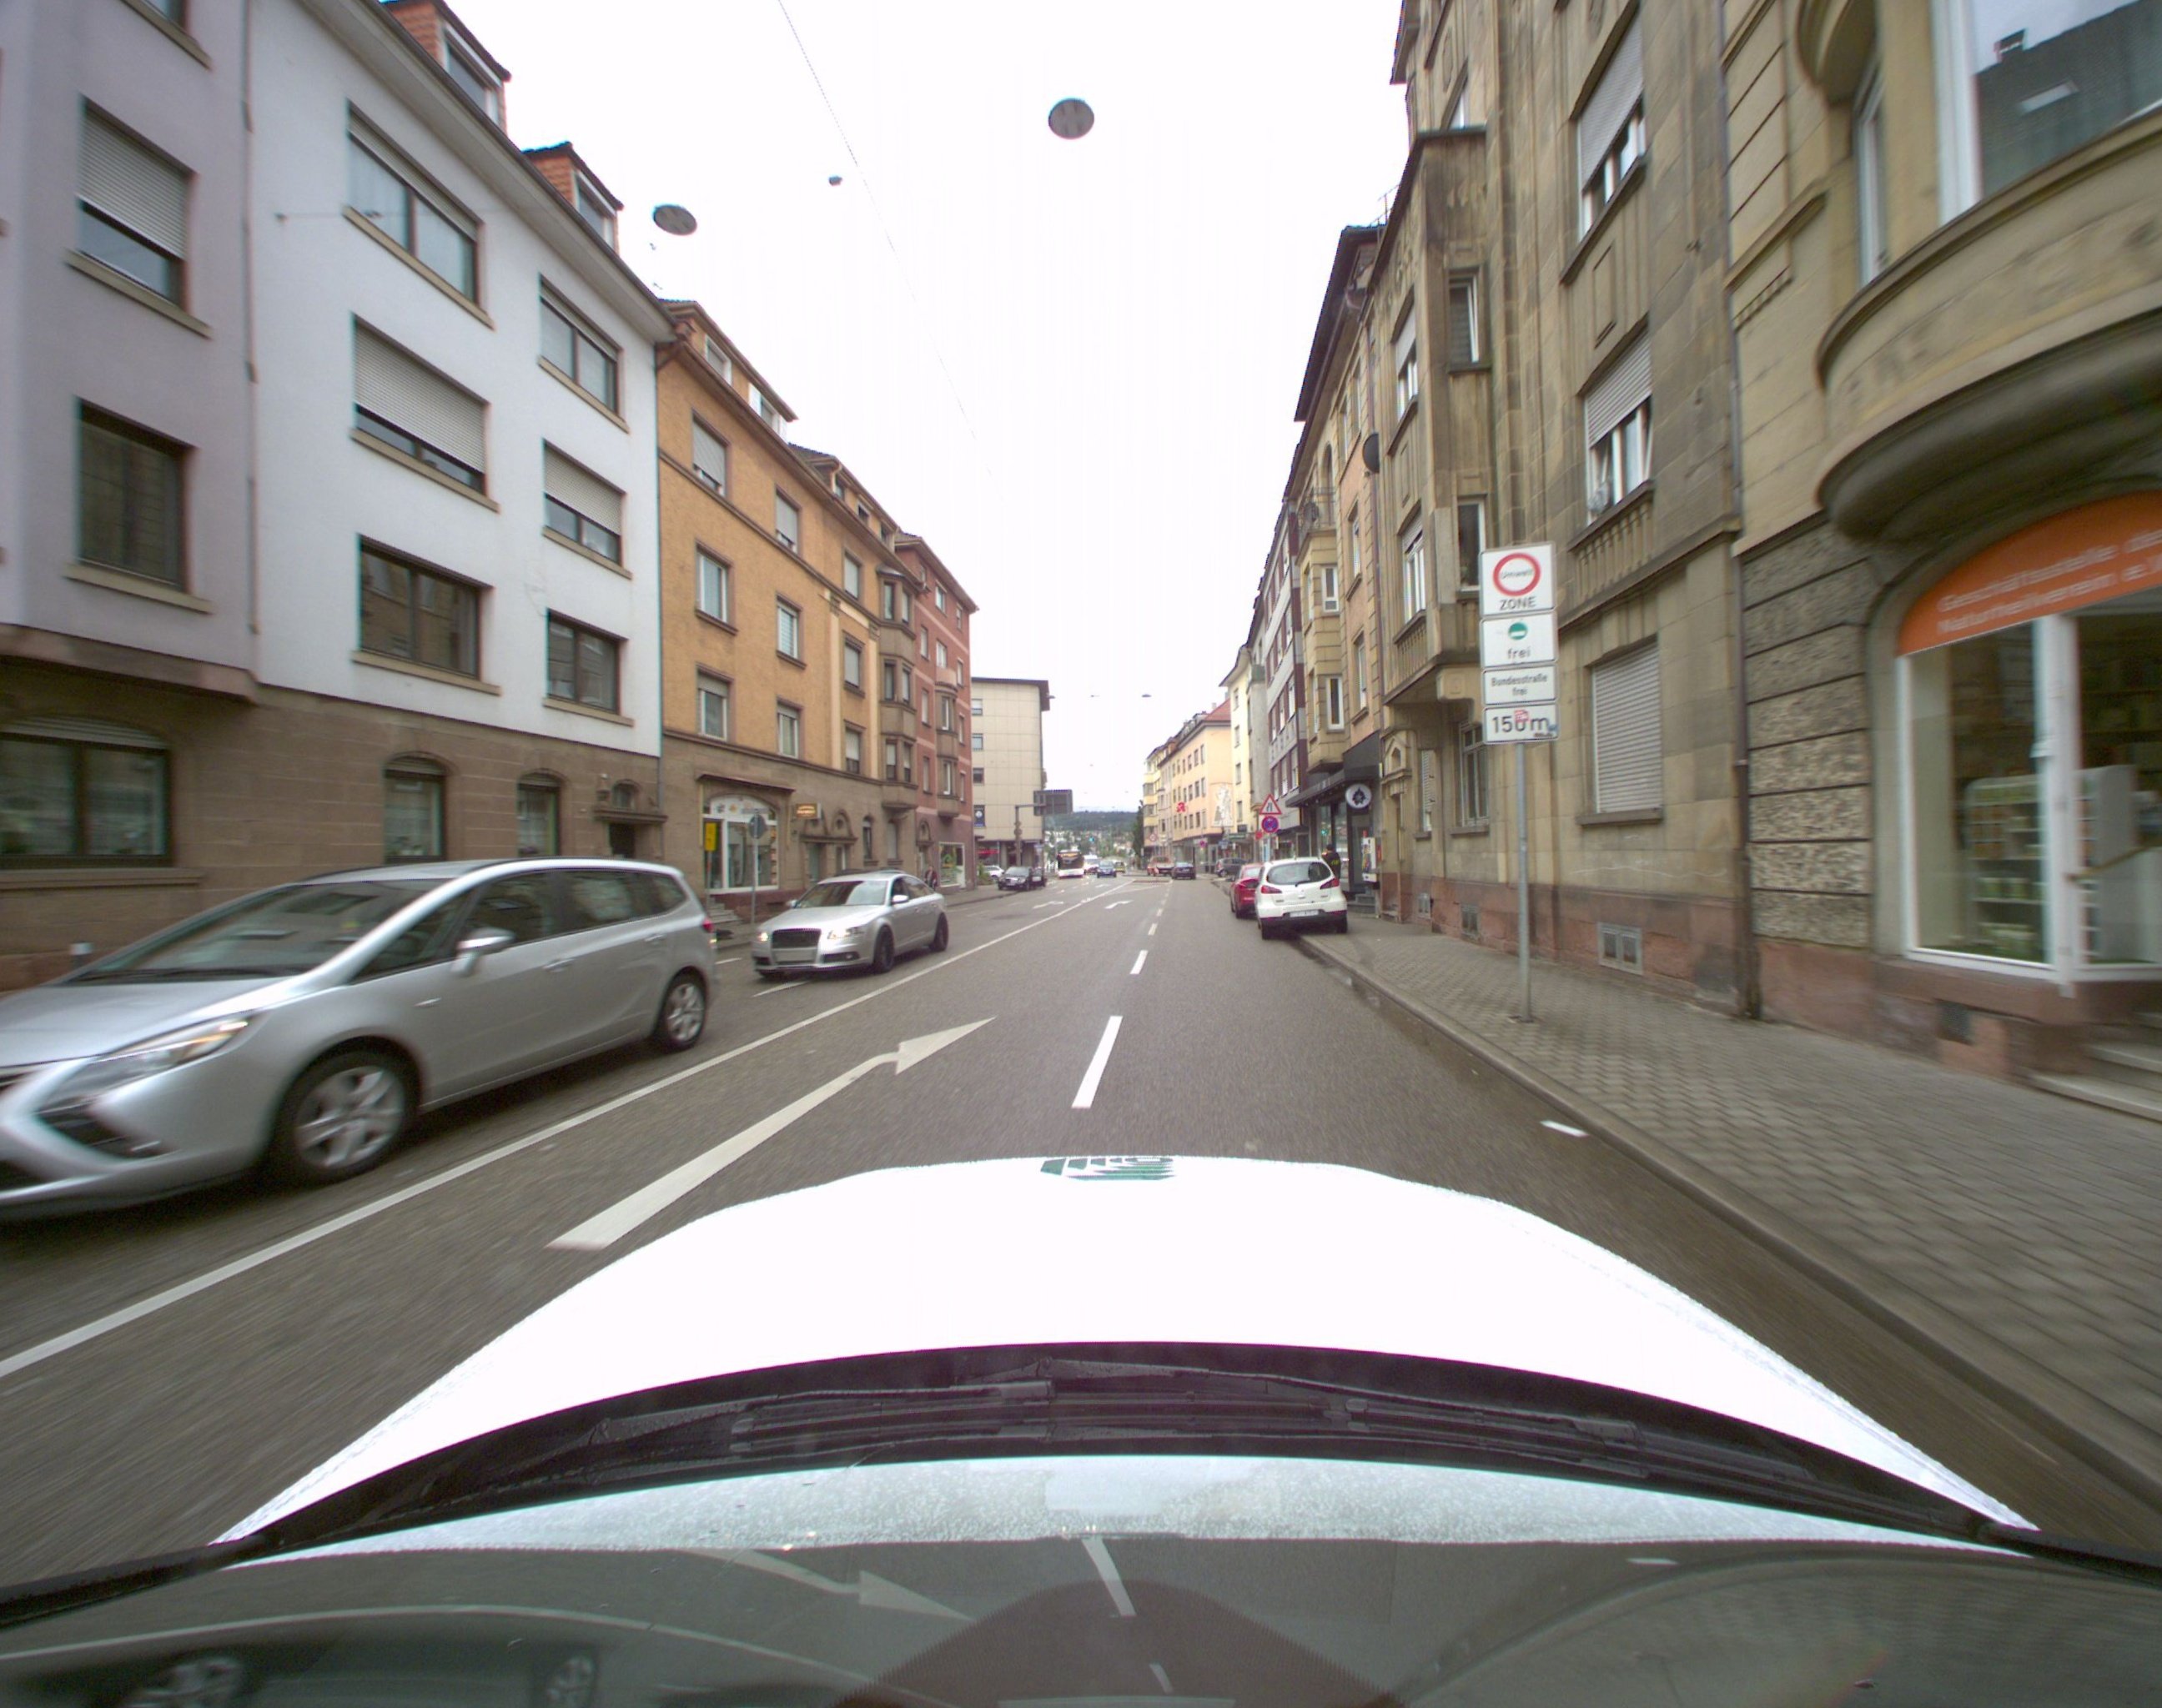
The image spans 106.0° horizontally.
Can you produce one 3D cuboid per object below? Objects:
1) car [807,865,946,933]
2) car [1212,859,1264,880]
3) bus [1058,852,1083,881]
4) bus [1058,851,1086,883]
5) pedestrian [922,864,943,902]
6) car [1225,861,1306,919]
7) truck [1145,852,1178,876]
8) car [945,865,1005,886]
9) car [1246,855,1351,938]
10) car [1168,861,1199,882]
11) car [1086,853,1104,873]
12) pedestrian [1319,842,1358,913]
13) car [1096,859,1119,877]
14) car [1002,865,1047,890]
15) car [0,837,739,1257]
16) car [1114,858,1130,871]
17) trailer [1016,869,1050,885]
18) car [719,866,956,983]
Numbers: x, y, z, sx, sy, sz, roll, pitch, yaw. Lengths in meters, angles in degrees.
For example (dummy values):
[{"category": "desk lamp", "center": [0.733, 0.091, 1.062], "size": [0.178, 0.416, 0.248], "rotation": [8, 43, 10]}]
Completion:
[{"category": "car", "center": [-5.304, 1.130, 21.808], "size": [1.969, 1.595, 4.349], "rotation": [-2, -1, 10]}, {"category": "car", "center": [12.872, 1.290, 66.895], "size": [3.812, 1.574, 1.936], "rotation": [-2, -1, 0]}, {"category": "bus", "center": [-1.301, 1.484, 96.241], "size": [2.718, 3.188, 9.285], "rotation": [-2, -1, -2]}, {"category": "bus", "center": [-1.021, 1.400, 87.112], "size": [2.751, 3.189, 8.904], "rotation": [-2, -1, -2]}, {"category": "pedestrian", "center": [-6.692, 1.291, 36.752], "size": [0.841, 1.679, 0.851], "rotation": [1, -2, -6]}, {"category": "car", "center": [5.042, 0.940, 22.748], "size": [1.735, 1.369, 4.322], "rotation": [-2, 0, 7]}, {"category": "truck", "center": [7.798, 1.006, 79.490], "size": [2.394, 2.130, 5.310], "rotation": [-2, -1, -2]}, {"category": "car", "center": [-8.784, 1.791, 67.561], "size": [4.647, 1.533, 1.892], "rotation": [-2, -1, -22]}, {"category": "car", "center": [4.506, 0.833, 17.457], "size": [1.638, 1.494, 4.458], "rotation": [-2, -1, 8]}, {"category": "car", "center": [7.966, 1.364, 63.708], "size": [1.749, 1.479, 3.997], "rotation": [-2, -1, -2]}, {"category": "car", "center": [1.855, 1.154, 105.518], "size": [2.078, 2.435, 6.354], "rotation": [-2, -1, 2]}, {"category": "pedestrian", "center": [6.664, 0.607, 21.144], "size": [0.740, 1.779, 0.796], "rotation": [-2, -1, 4]}, {"category": "car", "center": [2.422, 1.312, 75.866], "size": [1.750, 1.651, 4.302], "rotation": [-2, -1, -2]}, {"category": "car", "center": [-3.413, 1.419, 49.978], "size": [1.840, 1.398, 4.802], "rotation": [1, 0, 7]}, {"category": "car", "center": [-4.424, 0.803, 5.431], "size": [1.933, 1.584, 4.528], "rotation": [-2, -1, 6]}, {"category": "car", "center": [5.490, 1.432, 108.714], "size": [1.749, 1.651, 3.997], "rotation": [-2, -1, -2]}, {"category": "trailer", "center": [-3.163, 1.534, 54.127], "size": [1.579, 0.949, 3.063], "rotation": [3, 0, 9]}, {"category": "car", "center": [-3.551, 0.968, 12.944], "size": [1.933, 1.470, 4.567], "rotation": [-2, -1, 6]}]
